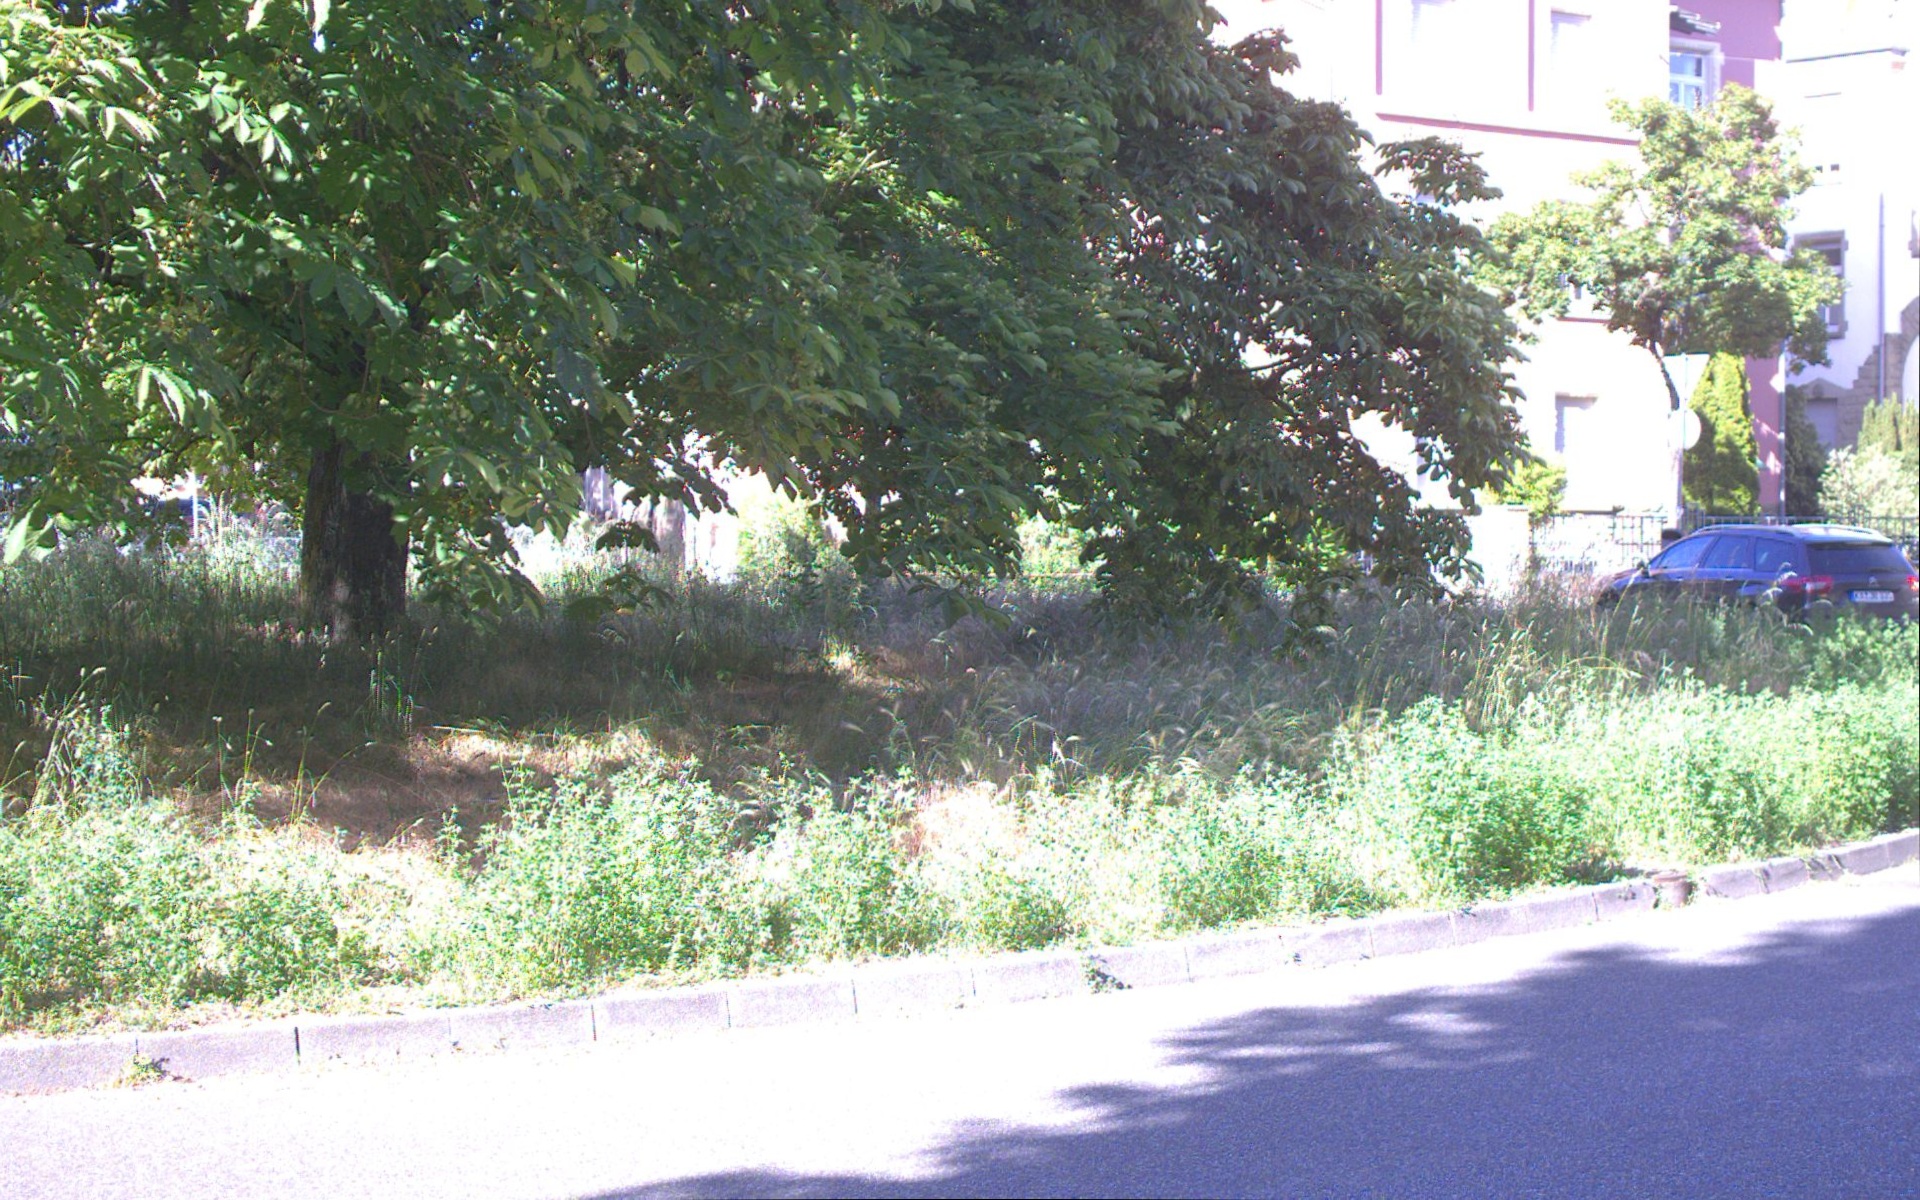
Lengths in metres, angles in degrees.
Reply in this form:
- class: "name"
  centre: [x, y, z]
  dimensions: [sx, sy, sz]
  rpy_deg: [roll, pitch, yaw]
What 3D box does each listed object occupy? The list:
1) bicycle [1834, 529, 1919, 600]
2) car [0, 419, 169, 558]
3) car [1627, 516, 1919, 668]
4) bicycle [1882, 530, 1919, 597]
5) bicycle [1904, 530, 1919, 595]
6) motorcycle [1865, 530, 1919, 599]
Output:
- class: "bicycle"
  centre: [15.529, -0.592, 57.187]
  dimensions: [1.828, 1.103, 0.500]
  rpy_deg: [3, 4, 38]
- class: "car"
  centre: [-18.551, -2.212, 67.170]
  dimensions: [6.367, 2.591, 2.100]
  rpy_deg: [2, 1, 32]
- class: "car"
  centre: [8.866, -0.134, 36.914]
  dimensions: [1.822, 1.527, 4.001]
  rpy_deg: [0, 1, -14]
- class: "bicycle"
  centre: [16.459, -0.603, 57.996]
  dimensions: [0.499, 1.103, 1.726]
  rpy_deg: [-2, 4, -43]
- class: "bicycle"
  centre: [16.947, -0.613, 58.461]
  dimensions: [0.499, 1.103, 1.726]
  rpy_deg: [-1, 4, -40]
- class: "motorcycle"
  centre: [16.064, -0.587, 57.598]
  dimensions: [0.499, 1.103, 1.726]
  rpy_deg: [-2, 4, -43]
